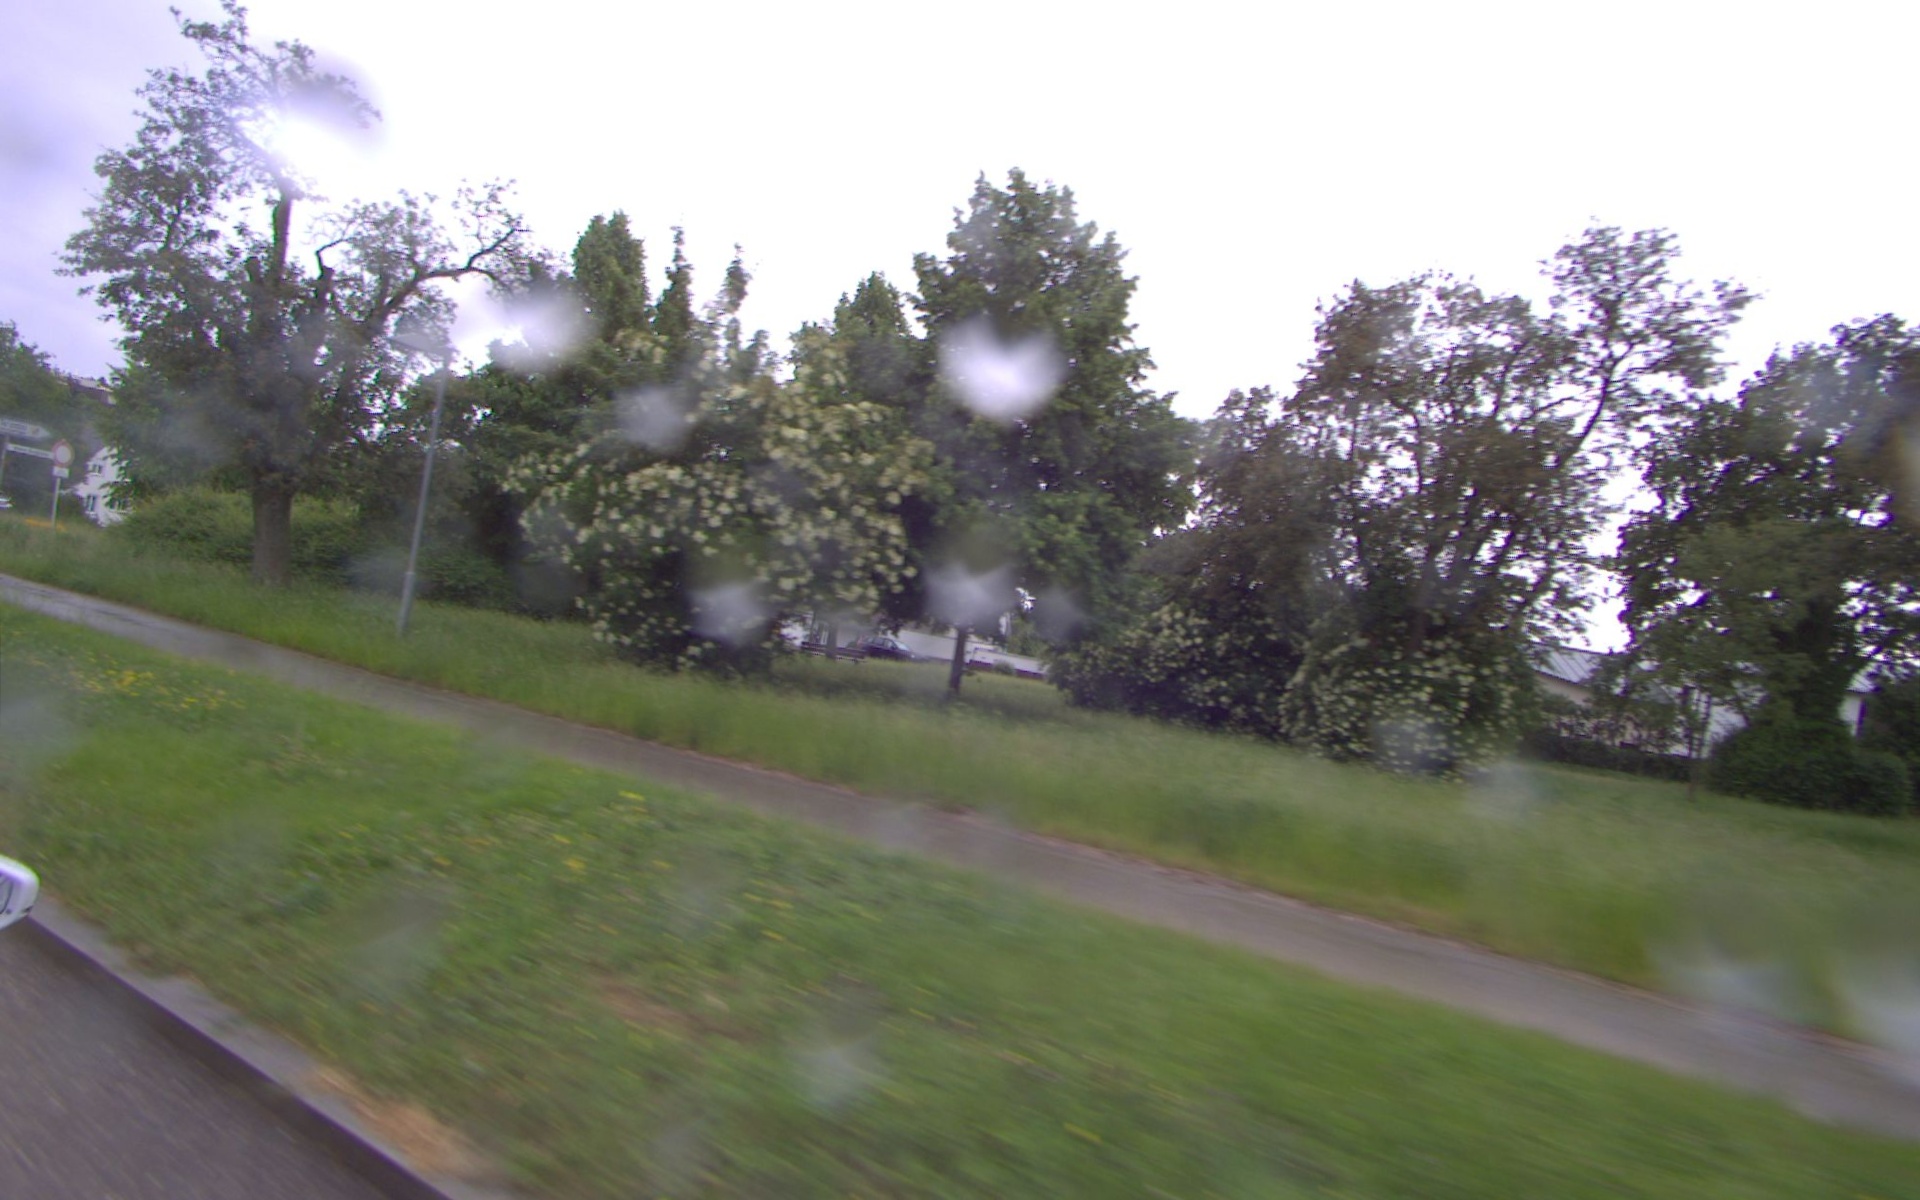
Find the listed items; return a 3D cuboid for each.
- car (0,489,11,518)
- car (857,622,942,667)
[{"bbox_3d":[-55.713,-5.741,56.903,3.934,1.526,1.934,9,0,32],"label":"car"},{"bbox_3d":[-3.540,2.572,58.380,4.390,1.760,1.998,10,0,31],"label":"car"}]
